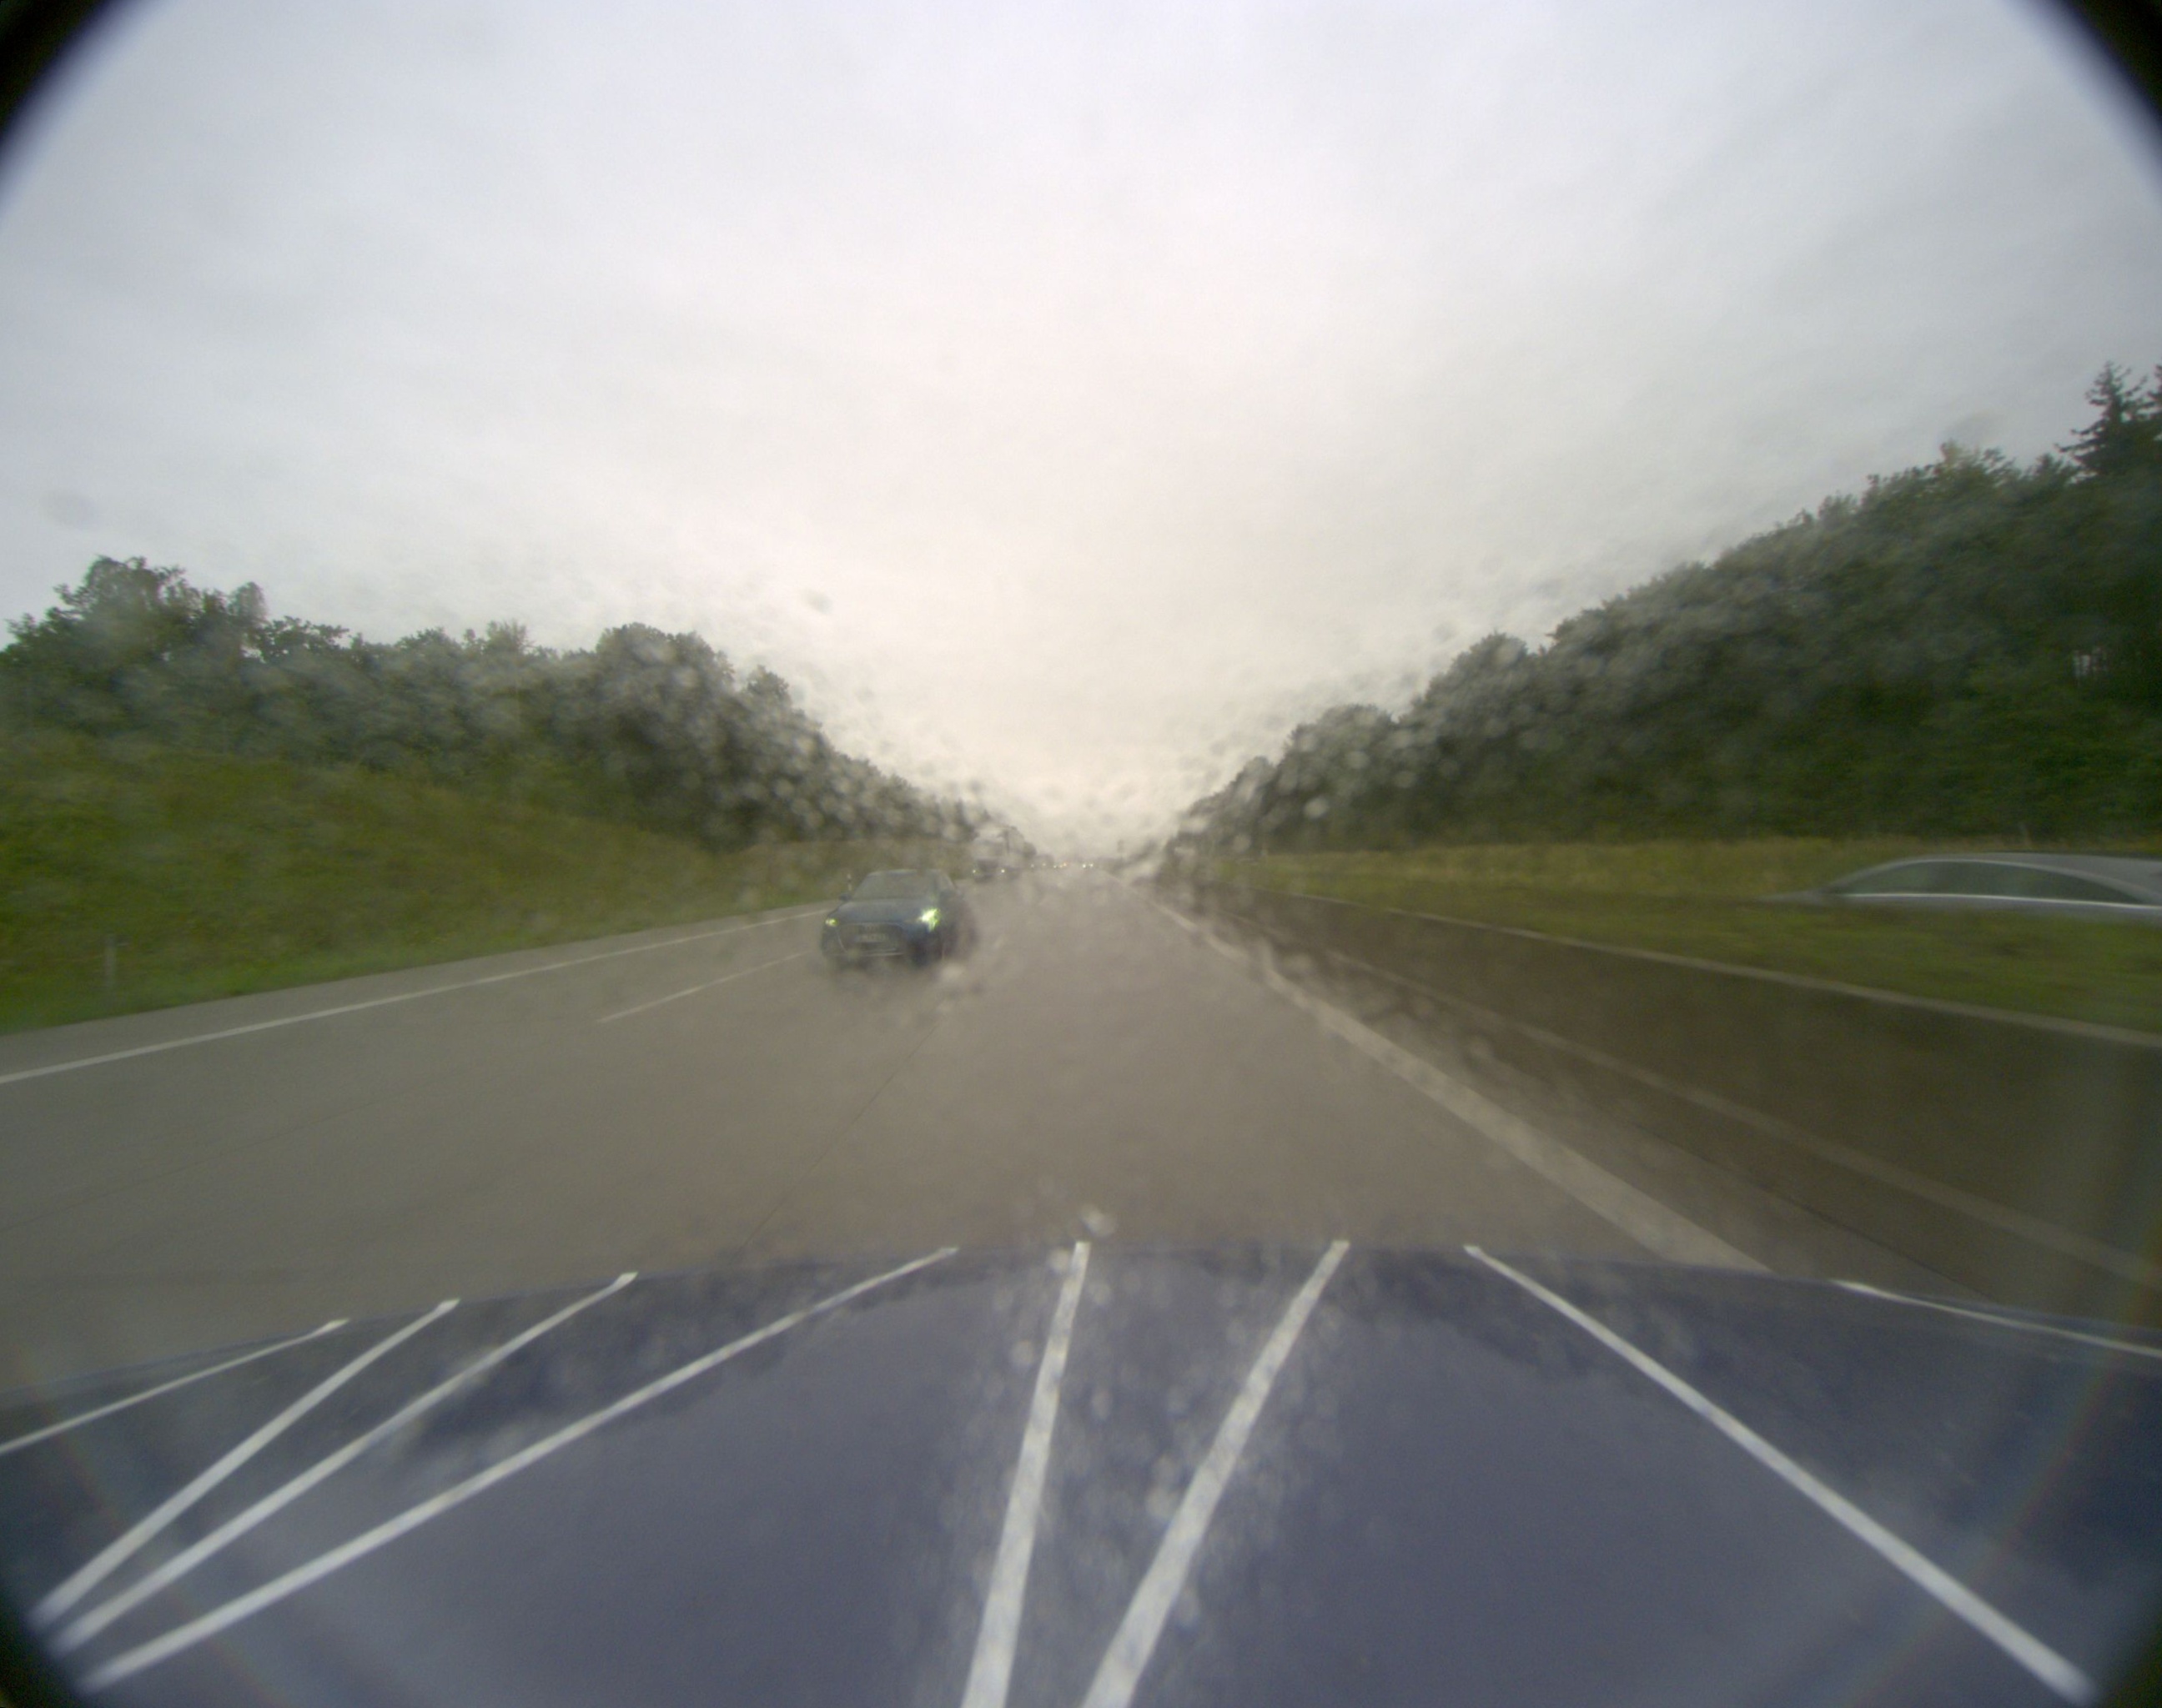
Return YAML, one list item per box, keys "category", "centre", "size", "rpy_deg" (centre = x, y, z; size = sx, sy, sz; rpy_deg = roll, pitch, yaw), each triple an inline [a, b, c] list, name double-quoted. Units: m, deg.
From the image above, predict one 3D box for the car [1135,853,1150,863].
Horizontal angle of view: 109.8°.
- category: "car"
  centre: [9.922, 0.663, 122.429]
  size: [1.998, 1.534, 4.559]
  rpy_deg: [-1, 0, 0]

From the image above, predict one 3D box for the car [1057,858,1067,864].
- category: "car"
  centre: [-4.795, 1.779, 191.481]
  size: [1.998, 1.575, 5.955]
  rpy_deg: [-3, -1, 2]

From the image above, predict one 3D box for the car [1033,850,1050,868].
- category: "car"
  centre: [-6.144, 0.813, 118.960]
  size: [1.945, 2.642, 6.588]
  rpy_deg: [-3, -1, 2]

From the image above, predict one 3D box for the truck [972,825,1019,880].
- category: "truck"
  centre: [-6.564, -0.060, 59.091]
  size: [2.643, 3.930, 5.687]
  rpy_deg: [-3, 0, 2]

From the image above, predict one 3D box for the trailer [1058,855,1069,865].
- category: "trailer"
  centre: [-4.593, 1.512, 197.469]
  size: [2.348, 2.444, 5.941]
  rpy_deg: [-1, 0, 2]

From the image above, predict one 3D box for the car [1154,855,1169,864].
- category: "car"
  centre: [13.067, 0.867, 123.182]
  size: [1.998, 1.534, 4.560]
  rpy_deg: [-1, 0, 0]

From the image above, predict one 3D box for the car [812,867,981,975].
- category: "car"
  centre: [-2.985, 1.017, 13.389]
  size: [1.733, 1.450, 4.672]
  rpy_deg: [-1, 0, 1]

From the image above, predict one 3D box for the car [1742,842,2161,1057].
- category: "car"
  centre: [8.623, 0.669, 6.691]
  size: [1.819, 1.533, 4.346]
  rpy_deg: [-1, 0, 0]

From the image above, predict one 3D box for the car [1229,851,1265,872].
- category: "car"
  centre: [12.965, 0.551, 59.662]
  size: [1.816, 1.534, 4.639]
  rpy_deg: [-1, 0, 0]

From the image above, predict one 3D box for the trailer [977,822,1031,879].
- category: "trailer"
  centre: [-6.463, -0.188, 66.700]
  size: [2.713, 4.353, 15.206]
  rpy_deg: [-3, -1, 1]

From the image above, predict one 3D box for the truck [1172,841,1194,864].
- category: "truck"
  centre: [17.321, -0.222, 129.296]
  size: [2.671, 3.852, 6.435]
  rpy_deg: [-1, 0, -1]

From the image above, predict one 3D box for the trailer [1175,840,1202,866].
- category: "trailer"
  centre: [17.398, -0.101, 123.833]
  size: [2.671, 3.948, 11.135]
  rpy_deg: [-1, 0, -1]

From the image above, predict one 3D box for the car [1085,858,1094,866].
- category: "car"
  centre: [1.766, 1.648, 157.350]
  size: [1.733, 1.450, 4.672]
  rpy_deg: [-2, 0, 1]

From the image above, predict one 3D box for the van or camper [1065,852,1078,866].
- category: "van or camper"
  centre: [-1.883, 1.032, 155.358]
  size: [2.233, 2.537, 7.951]
  rpy_deg: [-5, 0, 2]
